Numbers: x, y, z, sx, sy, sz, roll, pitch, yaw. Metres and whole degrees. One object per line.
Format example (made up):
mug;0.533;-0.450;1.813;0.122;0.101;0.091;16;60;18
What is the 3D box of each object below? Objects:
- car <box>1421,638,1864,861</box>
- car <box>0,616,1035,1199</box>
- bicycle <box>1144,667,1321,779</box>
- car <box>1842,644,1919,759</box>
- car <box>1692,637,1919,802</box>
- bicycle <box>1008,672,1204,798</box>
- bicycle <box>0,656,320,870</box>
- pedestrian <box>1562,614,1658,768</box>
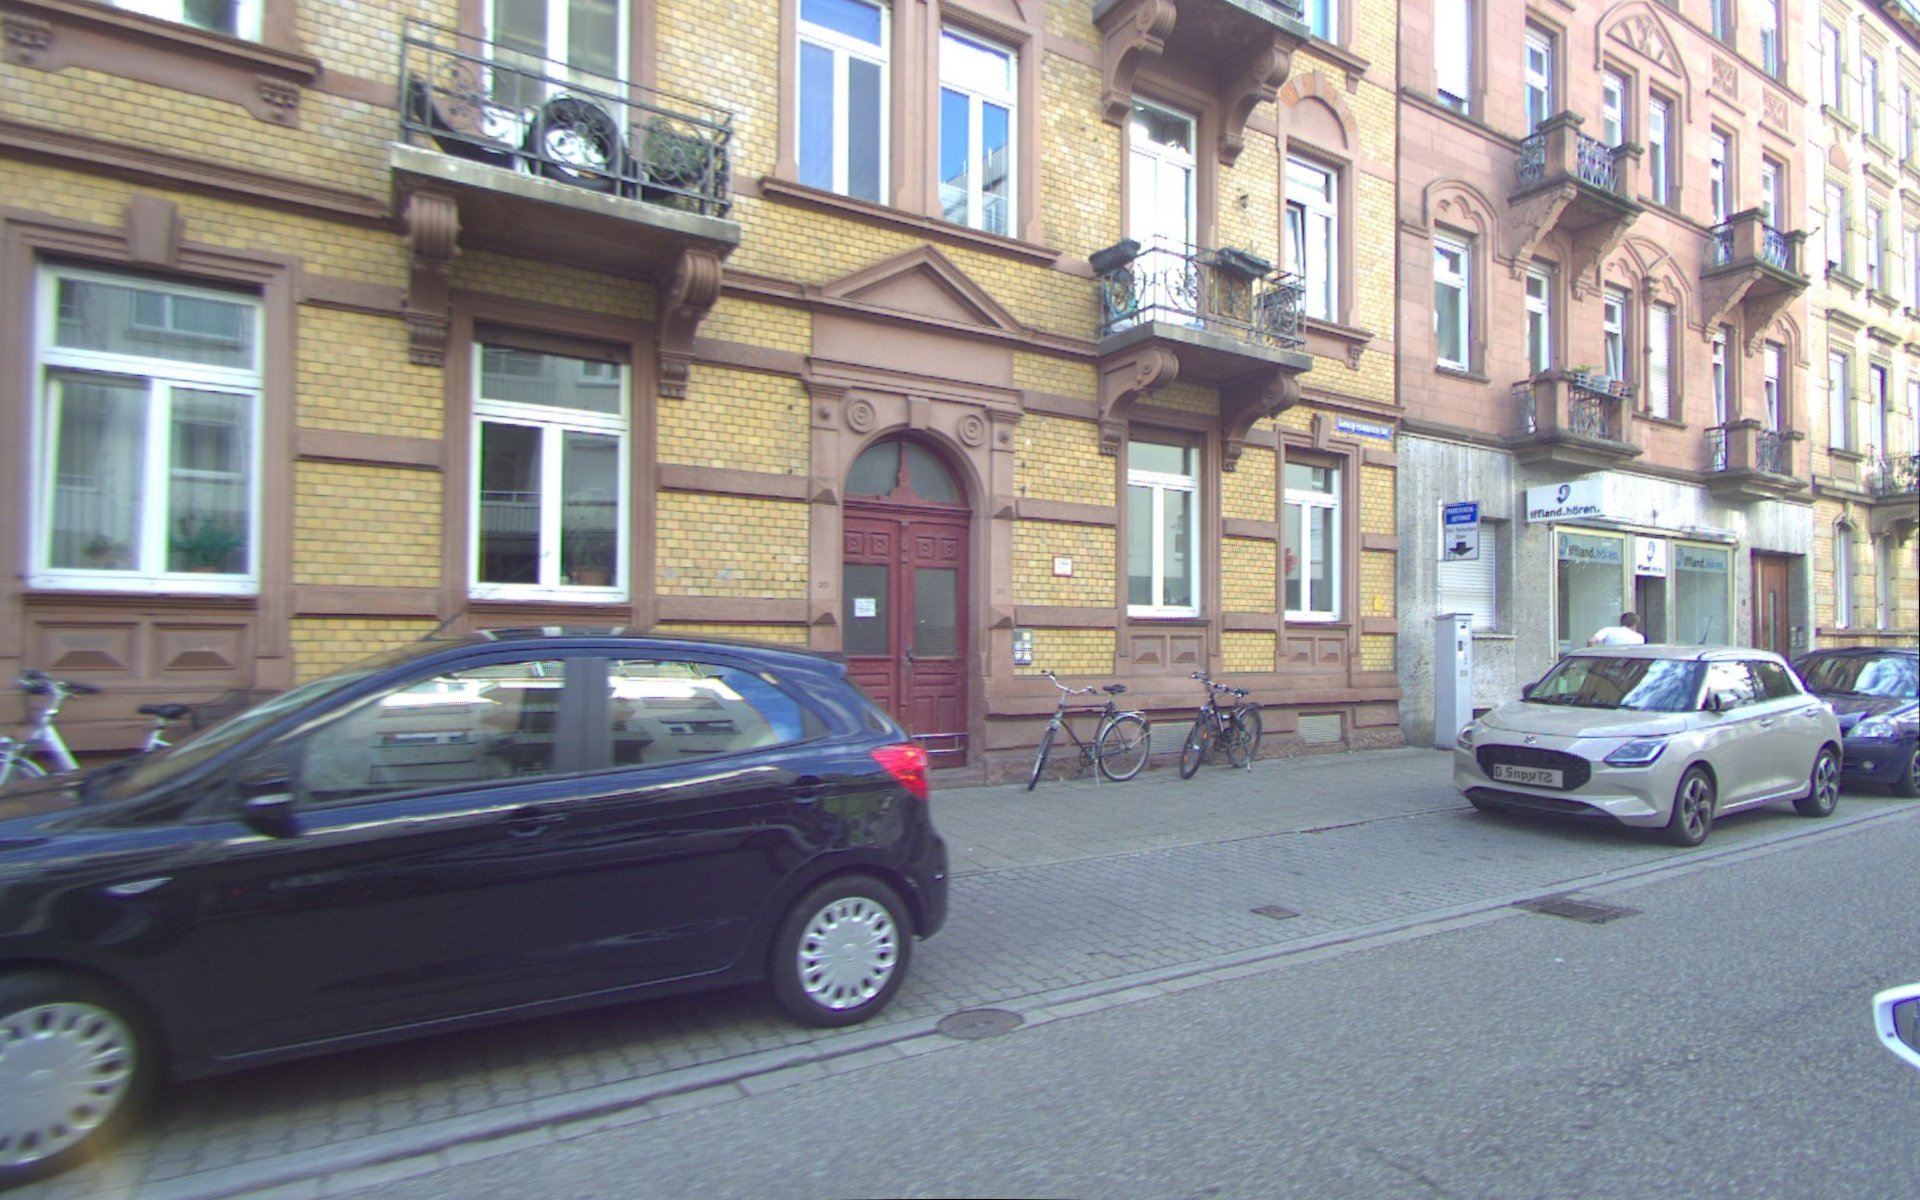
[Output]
car;6.036;1.113;8.799;3.937;1.503;1.733;1;-1;-31
car;-1.821;0.866;4.019;3.936;1.503;1.733;2;-1;-30
bicycle;2.961;1.288;10.899;1.751;1.051;0.893;1;-1;-30
car;13.728;1.323;13.543;3.822;1.405;1.682;1;-1;-31
car;10.120;1.195;11.246;3.937;1.503;1.733;1;-1;-31
bicycle;1.443;1.273;9.859;1.751;1.051;0.850;1;0;-30
bicycle;-5.103;0.943;6.132;1.978;1.166;0.565;2;0;-31
pedestrian;8.111;1.104;12.542;0.765;1.814;0.725;1;2;-37
